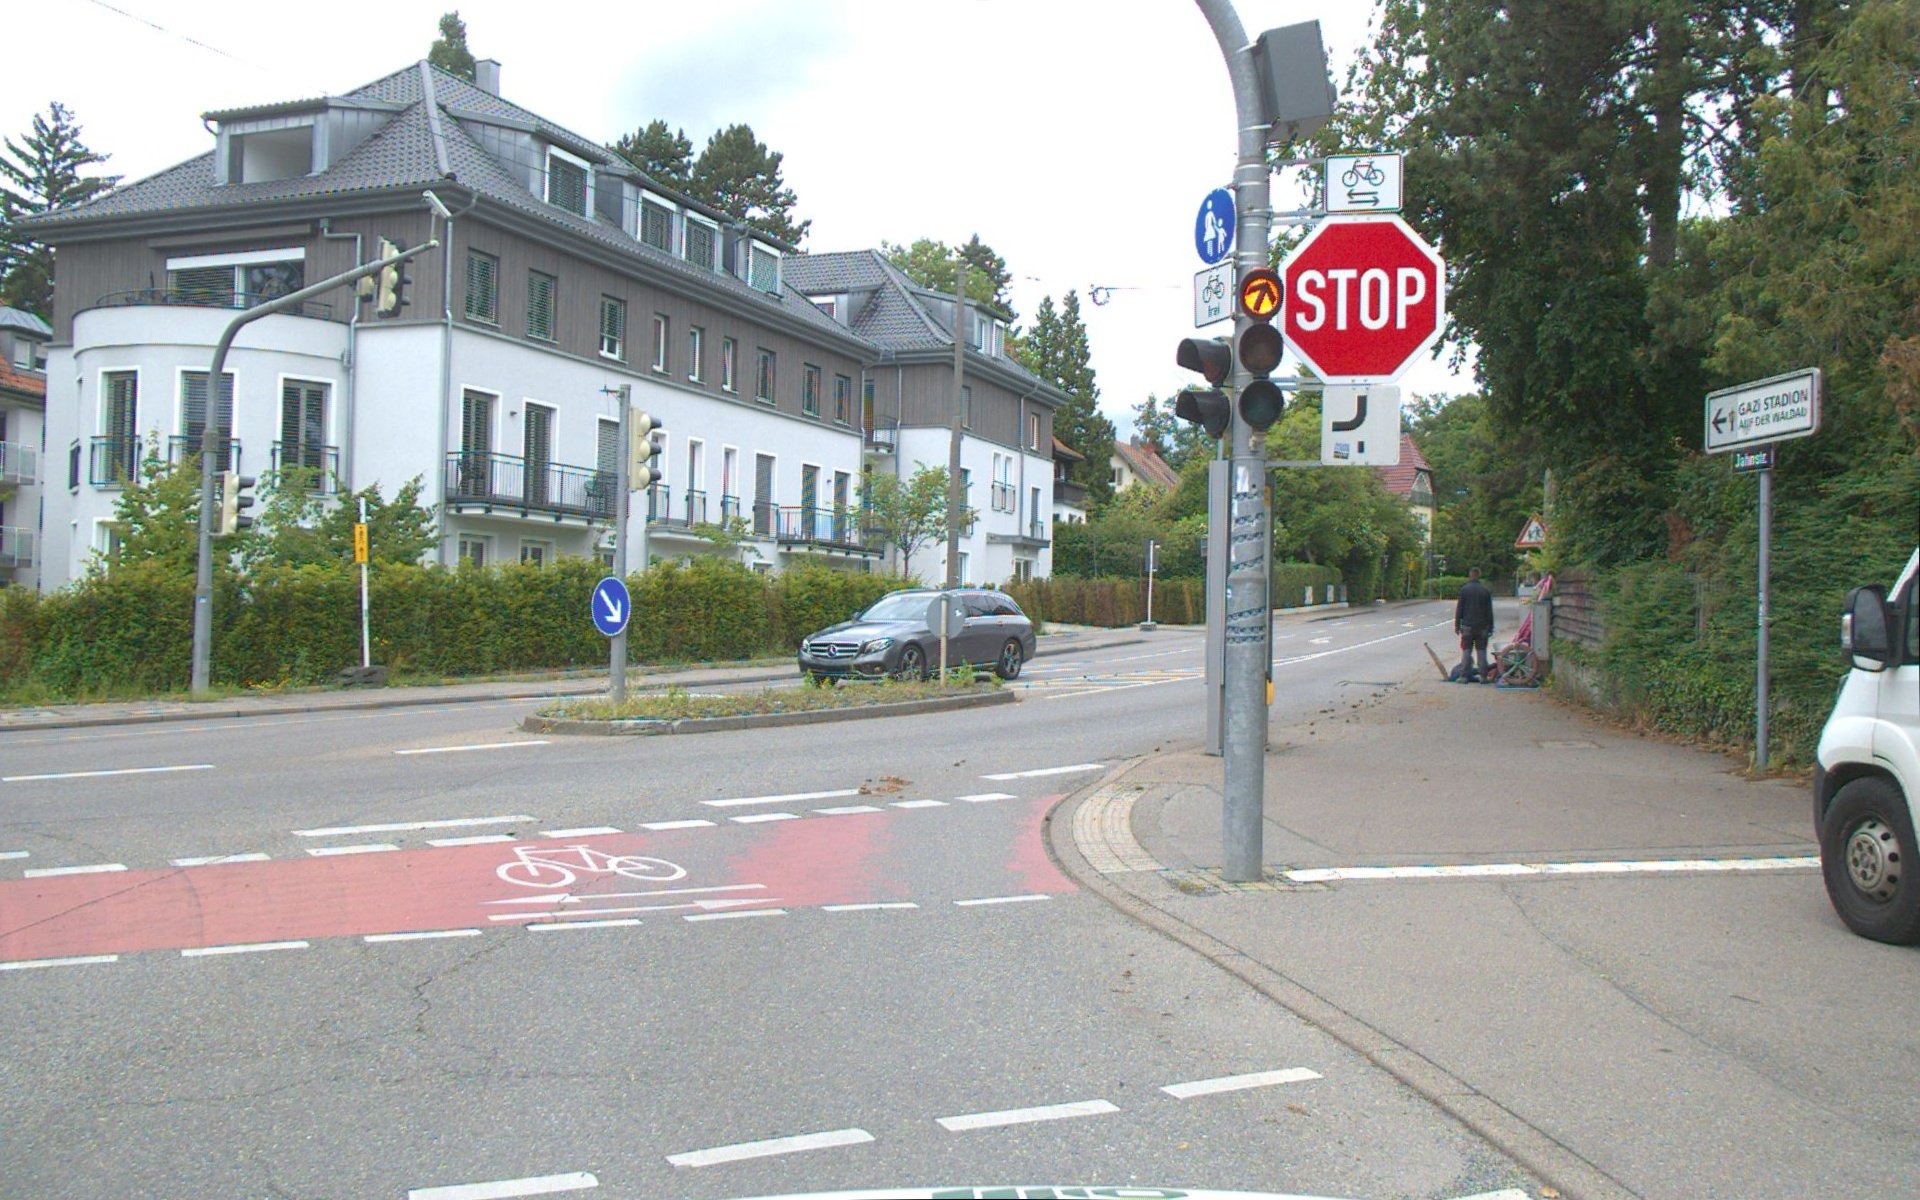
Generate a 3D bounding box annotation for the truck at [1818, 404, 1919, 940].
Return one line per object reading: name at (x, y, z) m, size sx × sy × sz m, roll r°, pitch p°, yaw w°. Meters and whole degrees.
truck at (5.139, 0.322, 5.025) m, size 2.162 × 2.283 × 5.724 m, roll 1°, pitch 0°, yaw 1°

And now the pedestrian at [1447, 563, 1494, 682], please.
pedestrian at (8.504, 0.370, 27.570) m, size 0.584 × 1.940 × 0.558 m, roll 1°, pitch 0°, yaw 0°

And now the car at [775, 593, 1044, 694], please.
car at (-0.680, 0.615, 26.248) m, size 1.905 × 1.428 × 4.728 m, roll 1°, pitch 1°, yaw 34°
